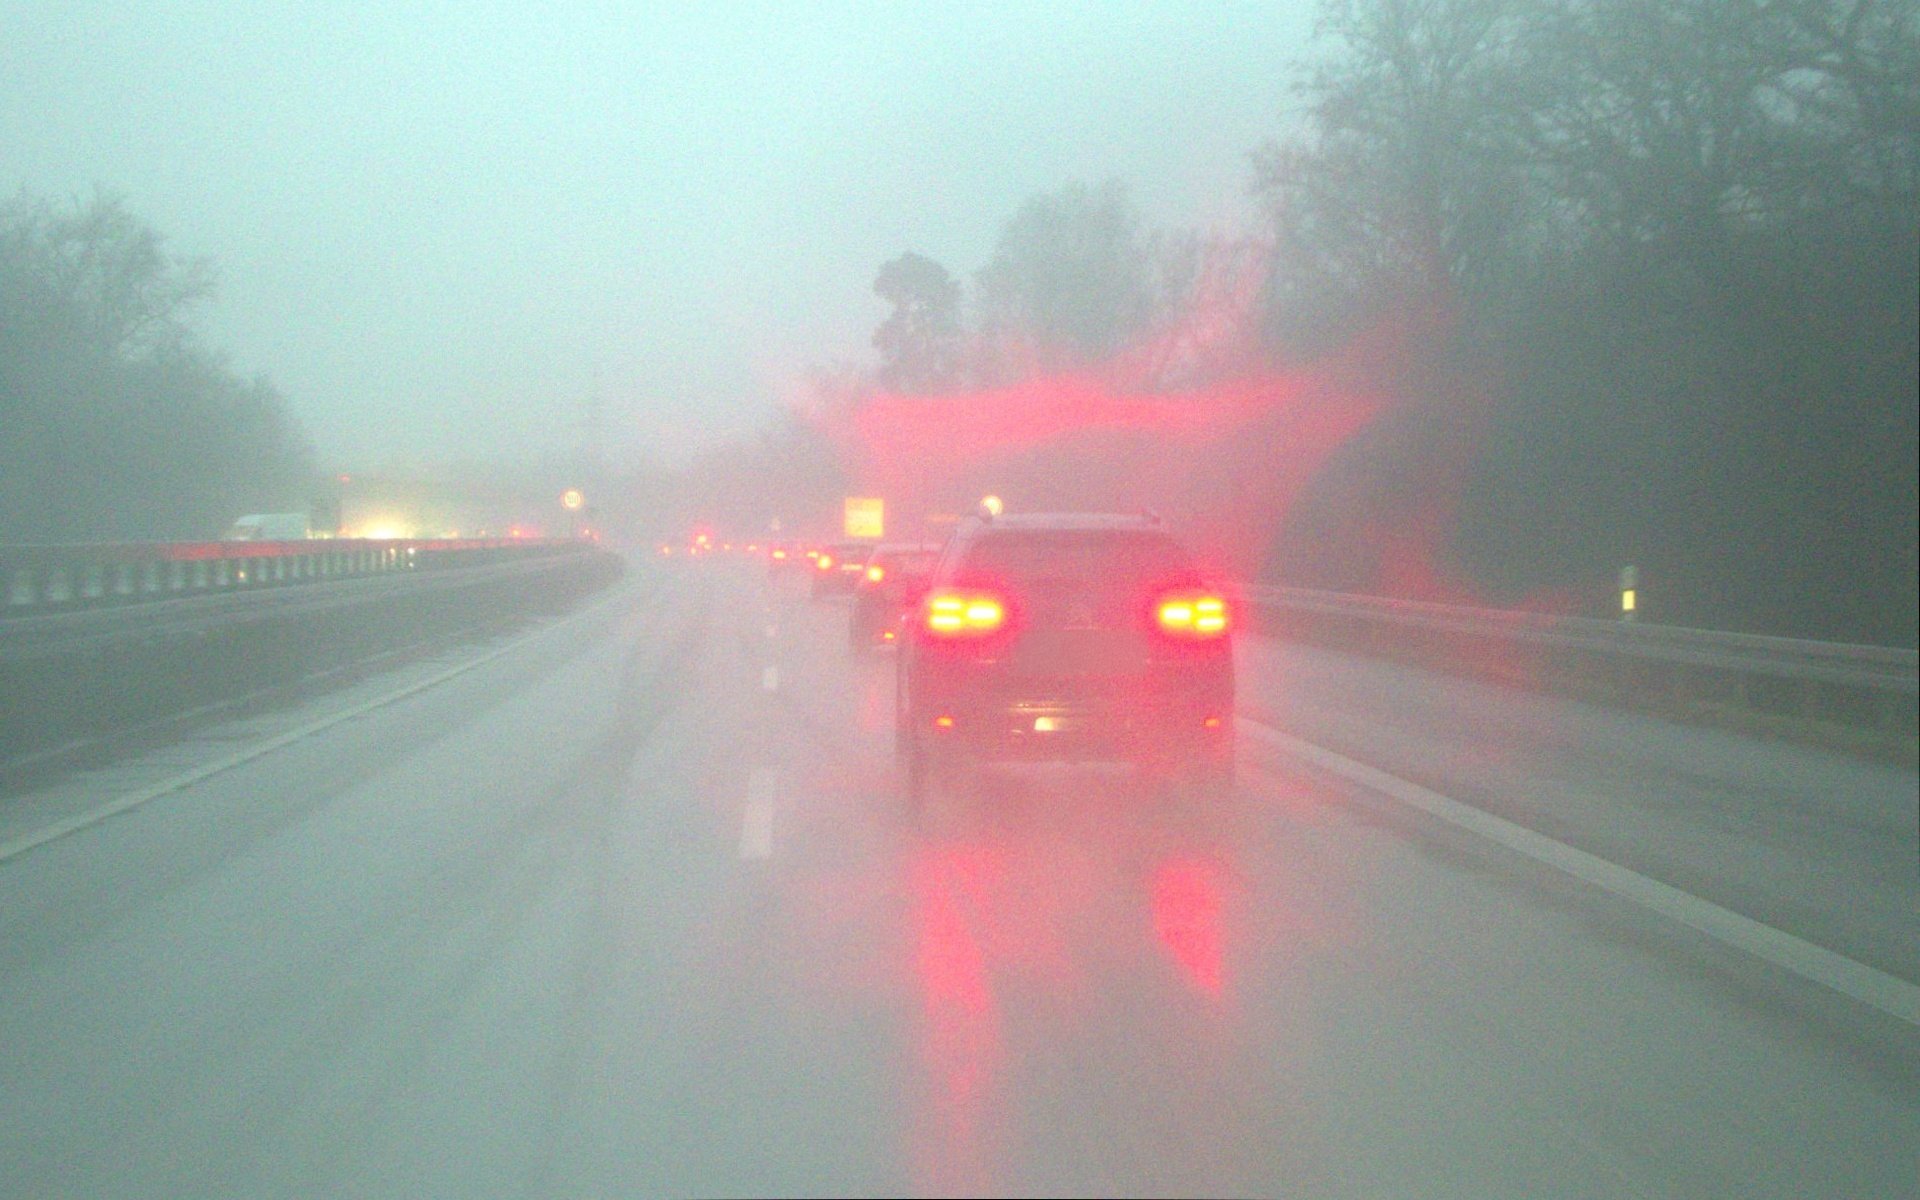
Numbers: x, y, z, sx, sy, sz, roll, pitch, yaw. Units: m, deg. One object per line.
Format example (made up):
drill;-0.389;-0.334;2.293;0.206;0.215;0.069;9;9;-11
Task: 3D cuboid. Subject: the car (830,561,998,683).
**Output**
car;-0.598;0.251;44.237;1.993;1.415;4.000;3;0;-1

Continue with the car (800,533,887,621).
car;-2.744;-0.567;81.677;1.993;2.007;4.000;1;1;-1

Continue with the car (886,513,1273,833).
car;0.608;0.369;20.551;1.992;1.709;3.830;1;1;-2
